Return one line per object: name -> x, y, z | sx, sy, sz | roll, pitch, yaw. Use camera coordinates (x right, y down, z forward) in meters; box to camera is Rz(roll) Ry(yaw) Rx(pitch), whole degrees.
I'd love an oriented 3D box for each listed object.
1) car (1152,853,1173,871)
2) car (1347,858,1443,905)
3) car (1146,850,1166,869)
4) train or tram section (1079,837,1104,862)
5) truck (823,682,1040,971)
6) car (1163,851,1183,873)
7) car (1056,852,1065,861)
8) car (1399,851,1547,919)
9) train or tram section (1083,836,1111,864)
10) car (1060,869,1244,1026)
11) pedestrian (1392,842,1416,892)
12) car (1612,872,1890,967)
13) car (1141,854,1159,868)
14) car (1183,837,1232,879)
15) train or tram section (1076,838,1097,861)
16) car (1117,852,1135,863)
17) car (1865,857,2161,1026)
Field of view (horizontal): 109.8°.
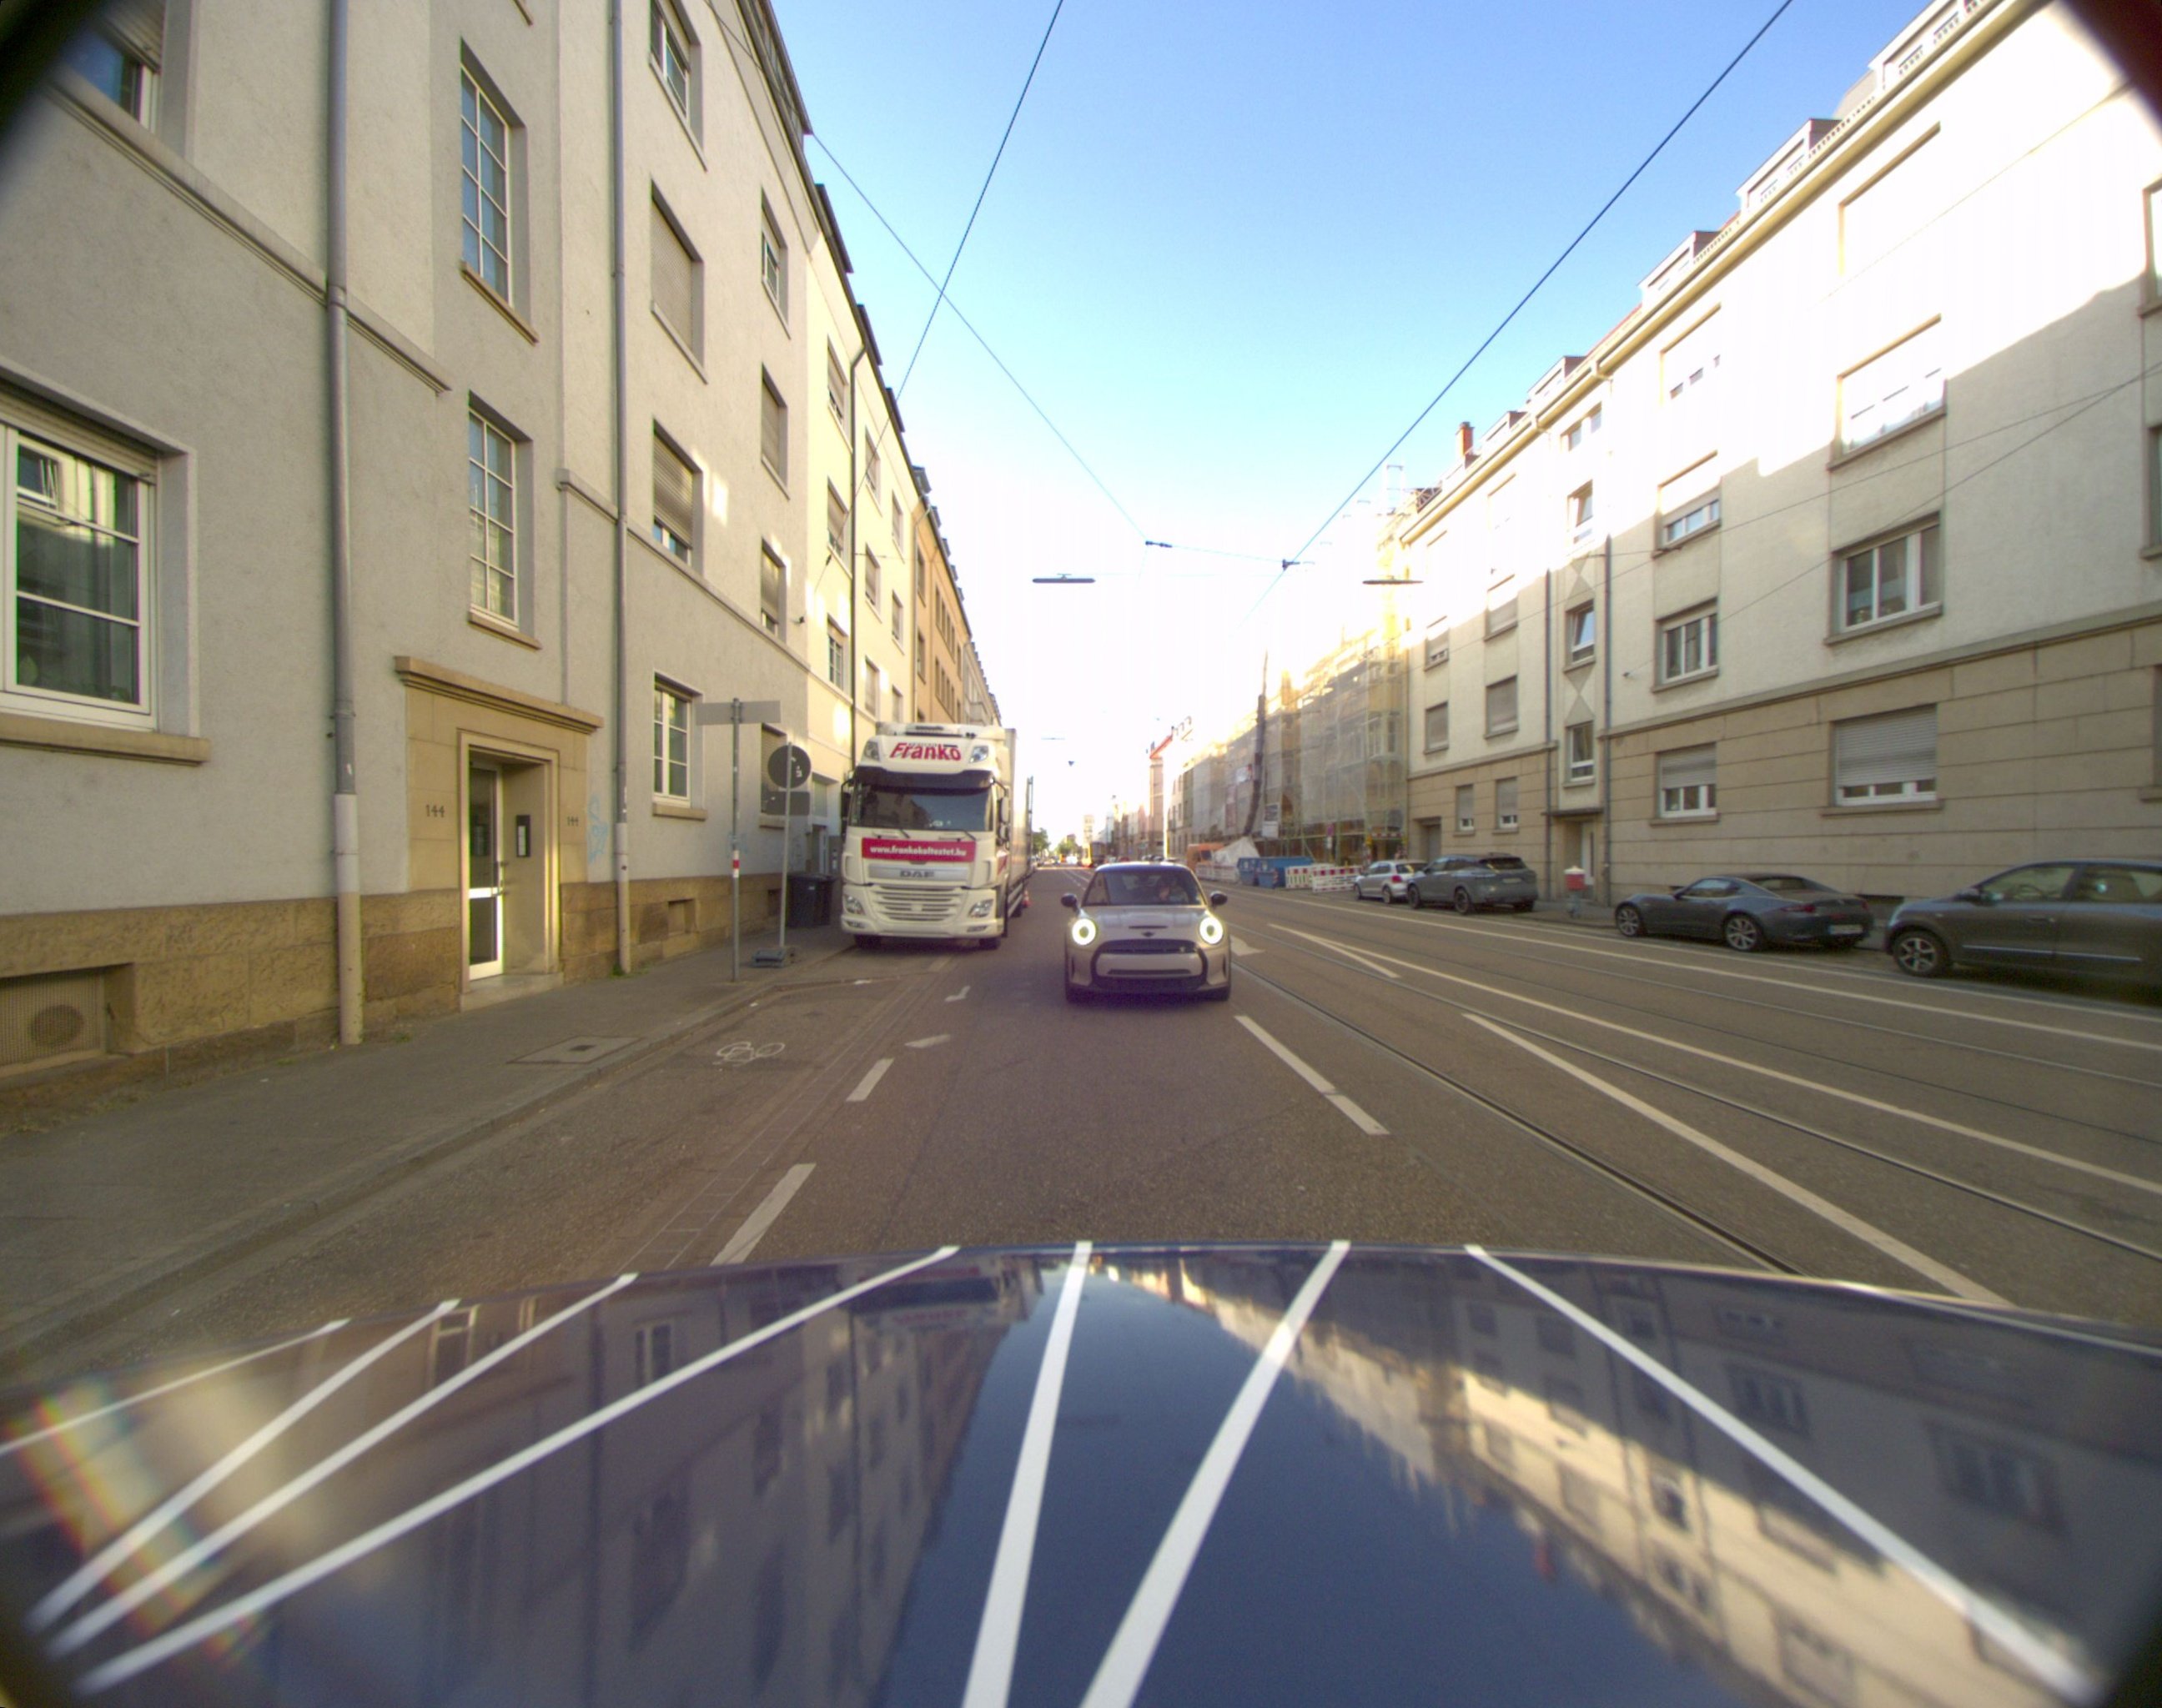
car -> 8.216, 0.777, 77.014 | 1.570, 1.674, 3.935 | -2, 1, -1
car -> 10.552, 0.877, 25.788 | 1.565, 1.372, 3.506 | -3, 1, -4
car -> 8.180, 0.553, 83.321 | 1.570, 1.945, 4.183 | -2, 1, -1
train or tram section -> 1.481, -0.652, 115.095 | 2.867, 3.542, 13.330 | 0, 1, -3
truck -> -2.497, -0.500, 16.990 | 2.700, 4.214, 11.773 | 0, 1, -1
car -> 8.593, 0.697, 71.037 | 1.658, 1.911, 3.766 | -2, 1, 5
car -> -4.904, 0.551, 181.795 | 1.999, 1.871, 4.269 | -2, 1, -4
car -> 10.810, 0.782, 21.308 | 1.752, 1.600, 4.157 | -3, 1, -4
train or tram section -> 2.013, -0.537, 102.835 | 2.867, 3.542, 13.038 | 0, 1, -3
car -> 0.659, 0.915, 9.043 | 1.727, 1.416, 3.817 | 0, -1, 0
pedestrian -> 12.376, 0.500, 29.138 | 0.519, 1.861, 0.762 | -2, 1, -2
car -> 11.122, 1.009, 12.960 | 1.476, 1.212, 3.522 | -3, 1, -4
car -> 7.992, 0.824, 88.272 | 1.532, 1.518, 3.599 | -2, 1, -1
car -> 8.801, 0.256, 53.353 | 2.215, 2.681, 5.871 | -2, 1, -2
train or tram section -> 0.853, -0.777, 128.404 | 2.867, 3.542, 13.330 | 0, 1, -3
car -> 7.052, 0.514, 119.545 | 2.231, 1.518, 4.959 | -2, 1, -1
car -> 11.377, 0.871, 8.383 | 1.644, 1.549, 3.594 | -3, 1, -2
